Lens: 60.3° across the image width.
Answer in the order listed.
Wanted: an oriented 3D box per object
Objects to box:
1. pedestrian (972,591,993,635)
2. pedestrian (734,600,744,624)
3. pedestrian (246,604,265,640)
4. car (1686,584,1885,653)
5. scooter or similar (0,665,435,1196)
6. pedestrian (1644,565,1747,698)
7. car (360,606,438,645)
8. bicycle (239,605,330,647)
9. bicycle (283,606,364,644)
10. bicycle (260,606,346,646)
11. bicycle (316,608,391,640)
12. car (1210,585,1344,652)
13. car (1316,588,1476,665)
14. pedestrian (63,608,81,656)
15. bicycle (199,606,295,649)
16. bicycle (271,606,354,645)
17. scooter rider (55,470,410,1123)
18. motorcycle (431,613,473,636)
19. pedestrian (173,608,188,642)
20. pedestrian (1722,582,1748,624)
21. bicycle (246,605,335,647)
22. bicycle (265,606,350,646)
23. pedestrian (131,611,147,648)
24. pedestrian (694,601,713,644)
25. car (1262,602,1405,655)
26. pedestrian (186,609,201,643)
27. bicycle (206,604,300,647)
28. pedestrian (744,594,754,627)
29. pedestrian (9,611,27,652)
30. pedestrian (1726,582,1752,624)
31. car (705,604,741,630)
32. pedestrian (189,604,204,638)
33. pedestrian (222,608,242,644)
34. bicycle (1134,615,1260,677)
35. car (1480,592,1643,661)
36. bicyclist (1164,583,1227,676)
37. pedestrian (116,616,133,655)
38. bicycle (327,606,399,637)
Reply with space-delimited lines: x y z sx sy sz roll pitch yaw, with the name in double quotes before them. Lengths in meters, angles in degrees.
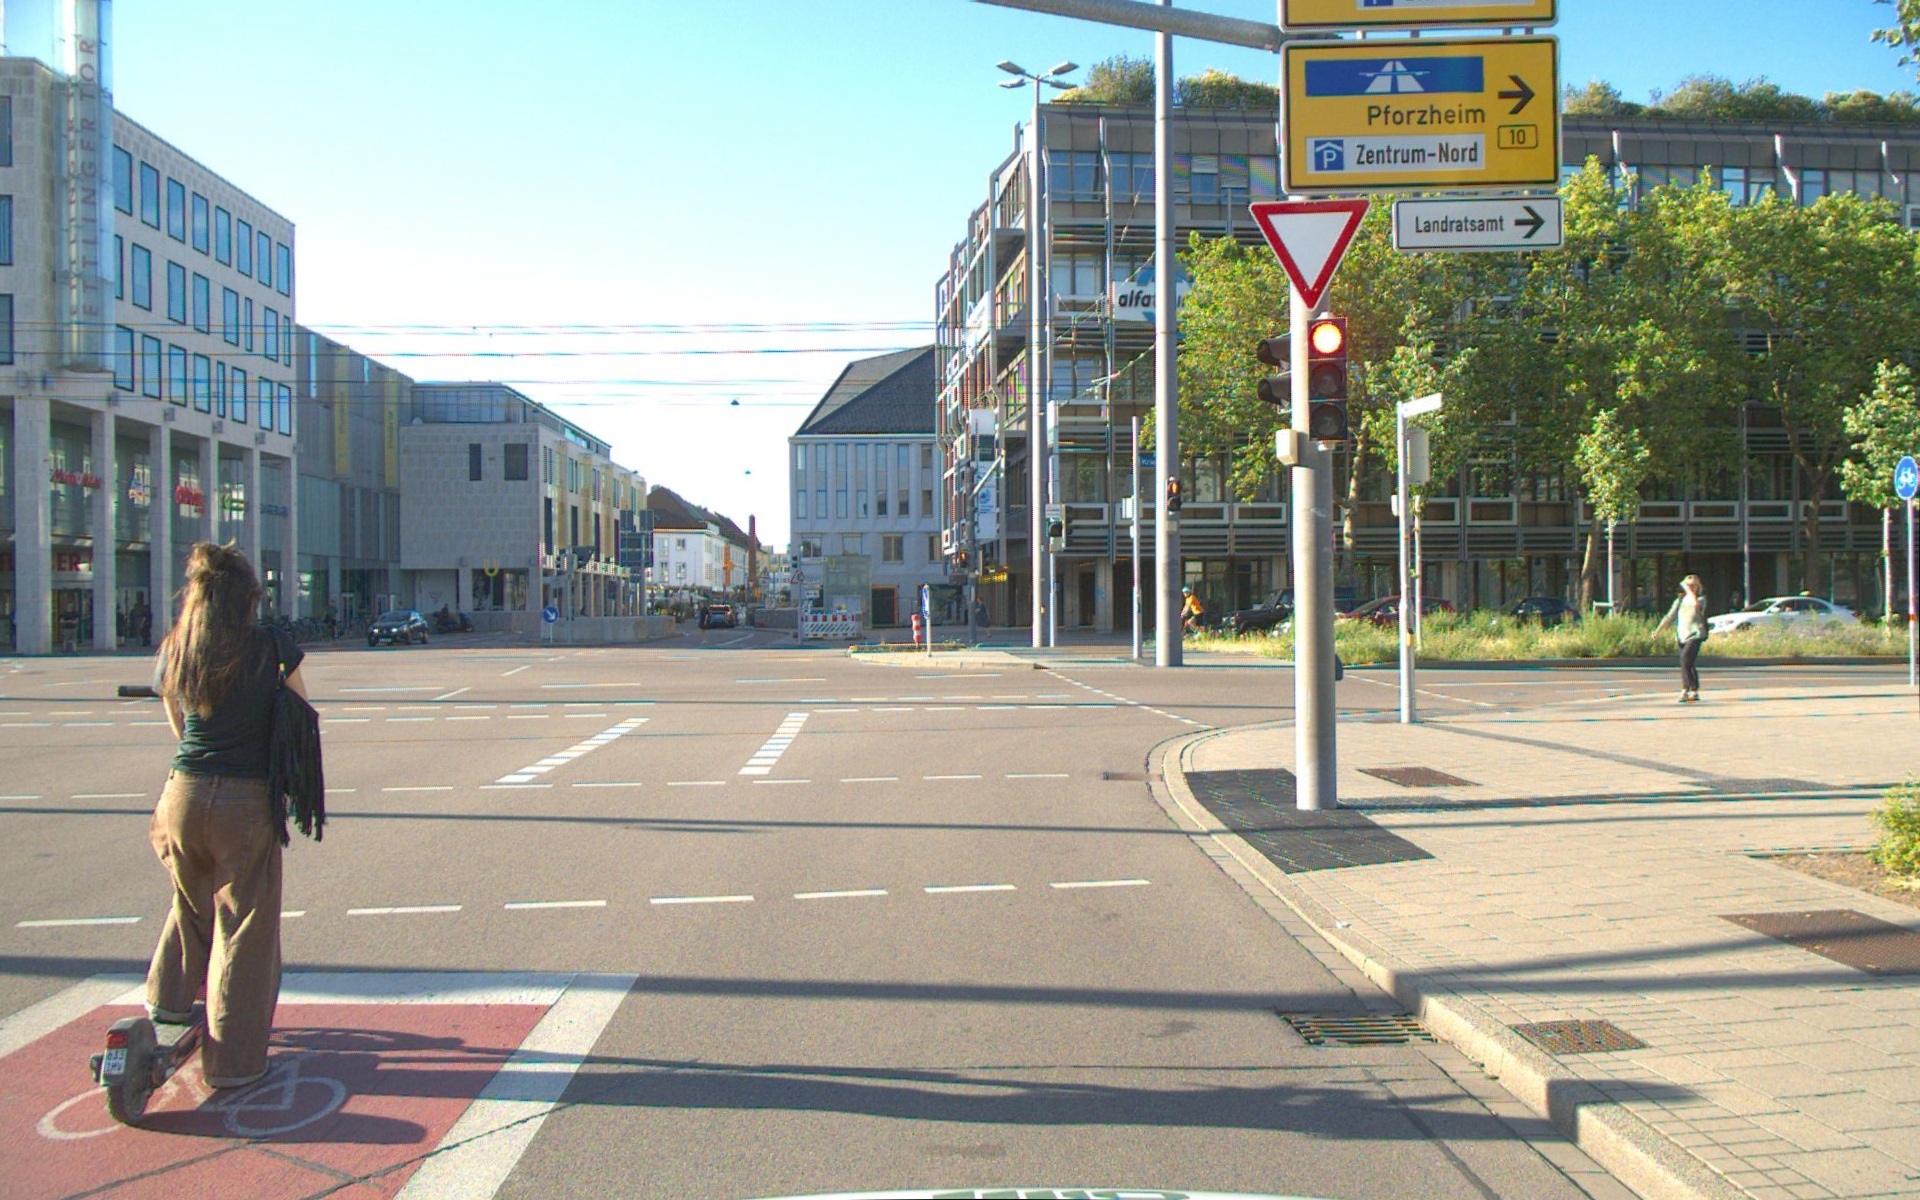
"pedestrian" 0.868 0.508 65.001 0.715 1.687 0.649 -1 0 -8
"pedestrian" -13.726 0.746 102.832 0.598 1.436 0.569 -1 0 -7
"pedestrian" -33.089 1.047 77.726 0.641 1.671 0.693 -1 0 -9
"car" 26.176 0.577 52.568 5.332 2.049 2.096 1 0 -3
"scooter or similar" -2.157 0.837 4.868 0.713 1.223 1.664 0 0 -1
"pedestrian" 9.420 0.388 21.203 0.787 1.658 0.939 -1 0 -14
"car" -23.514 1.041 69.468 1.953 1.512 3.999 -1 0 -1
"bicycle" -28.864 1.089 70.706 3.427 1.726 1.114 -1 0 -10
"bicycle" -30.333 1.189 78.861 3.430 1.726 0.984 -1 0 -12
"bicycle" -29.569 1.170 74.487 3.430 1.726 0.984 -1 0 -12
"bicycle" -30.880 1.213 84.260 3.430 1.554 0.984 -1 0 -12
"car" 10.308 0.597 53.912 3.908 2.049 1.999 1 0 -3
"car" 12.235 0.732 46.571 3.908 2.049 1.999 1 0 -3
"pedestrian" -31.332 1.129 58.350 0.534 1.671 0.545 -1 0 -27
"bicycle" -29.318 1.114 68.026 3.427 1.726 1.114 -1 0 -10
"bicycle" -30.034 1.180 76.775 3.430 1.726 0.984 -1 0 -12
"scooter rider" -2.149 0.542 4.989 0.713 1.806 0.811 0 0 -1
"motorcycle" -29.950 1.436 97.588 2.230 1.341 0.719 -1 0 -6
"pedestrian" -35.871 1.137 76.127 0.472 1.537 0.513 -1 0 -5
"pedestrian" 31.657 0.133 67.529 0.651 1.687 0.740 -1 0 -8
"bicycle" -29.094 1.125 71.918 3.427 1.726 1.114 -1 0 -10
"bicycle" -29.793 1.179 75.575 3.430 1.726 0.984 -1 0 -12
"pedestrian" -34.897 1.249 70.306 0.472 1.537 0.513 -1 0 -5
"pedestrian" -10.188 0.907 65.722 0.650 1.687 0.755 -1 0 -4
"car" 11.443 0.863 50.809 3.908 1.534 1.867 1 0 -4
"pedestrian" -36.487 1.241 78.700 0.472 1.613 0.598 -1 0 -5
"bicycle" -29.544 1.064 69.180 3.427 1.726 1.114 -1 0 -10
"pedestrian" -13.172 0.675 103.100 0.598 2.049 0.569 -1 0 -7
"pedestrian" -37.620 1.269 66.045 0.420 1.613 0.498 -1 0 -5
"pedestrian" 31.452 0.126 66.755 0.651 1.687 0.740 -1 0 -8
"car" -15.492 1.096 108.157 2.157 1.635 4.320 -1 0 -6
"pedestrian" -36.877 1.025 79.923 0.472 1.613 0.598 -1 0 -5
"pedestrian" -33.972 1.218 77.210 0.775 1.671 0.688 -1 0 -29
"bicycle" 6.751 1.301 47.216 3.427 1.688 0.929 -1 0 -10
"car" 18.831 0.819 51.873 4.359 2.049 1.998 1 0 -6
"bicyclist" 6.722 0.832 47.216 1.539 2.625 0.930 -1 0 -10
"pedestrian" -35.122 1.494 69.497 0.472 1.613 0.513 -1 0 -5
"bicycle" -31.068 1.121 86.121 3.430 1.554 0.984 -1 0 -12
